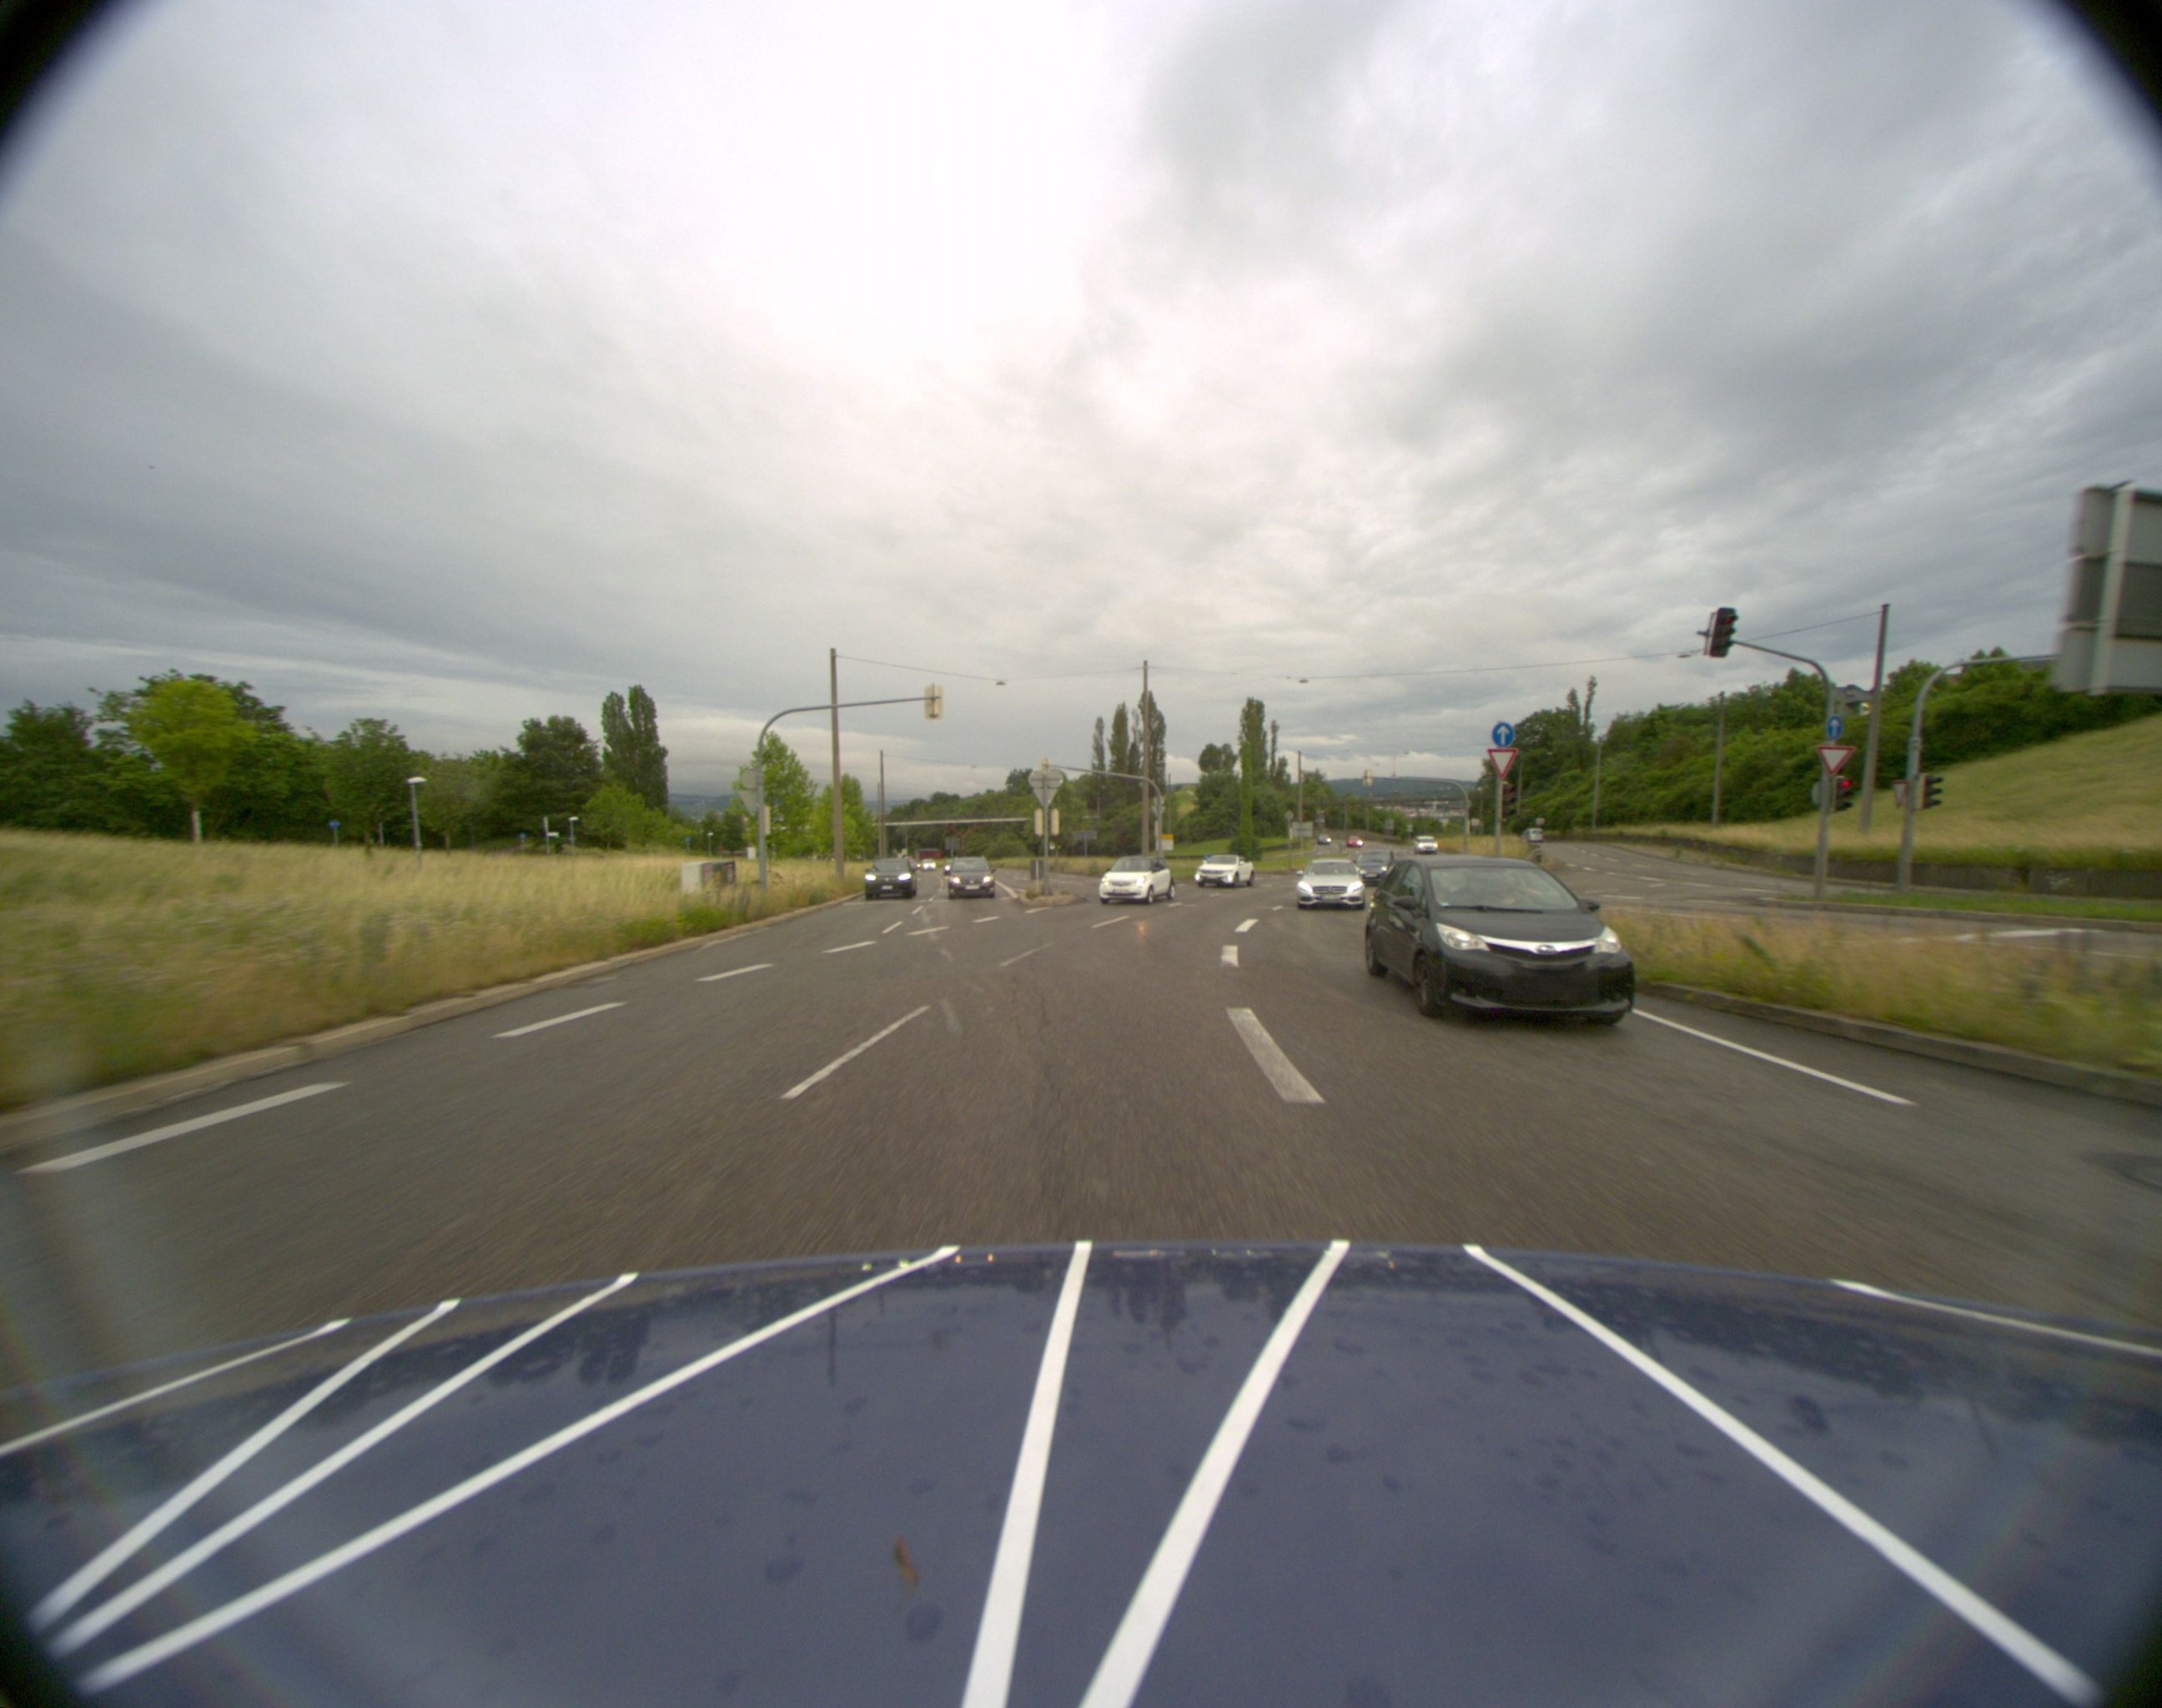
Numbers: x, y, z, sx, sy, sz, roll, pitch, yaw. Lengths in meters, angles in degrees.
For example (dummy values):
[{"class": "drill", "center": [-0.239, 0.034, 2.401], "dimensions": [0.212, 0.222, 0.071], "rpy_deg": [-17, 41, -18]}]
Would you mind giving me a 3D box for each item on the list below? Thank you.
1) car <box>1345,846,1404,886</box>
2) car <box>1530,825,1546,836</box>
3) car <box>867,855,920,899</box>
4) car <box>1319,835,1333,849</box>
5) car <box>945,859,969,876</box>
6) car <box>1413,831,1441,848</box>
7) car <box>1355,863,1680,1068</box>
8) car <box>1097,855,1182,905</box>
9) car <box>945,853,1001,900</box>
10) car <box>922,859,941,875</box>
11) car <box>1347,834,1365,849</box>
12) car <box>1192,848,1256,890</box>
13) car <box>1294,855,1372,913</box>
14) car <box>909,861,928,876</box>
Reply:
[{"class": "car", "center": [13.735, 0.516, 35.403], "dimensions": [1.923, 1.725, 4.033], "rpy_deg": [-1, 0, 30]}, {"class": "car", "center": [59.890, -3.066, 99.657], "dimensions": [1.558, 1.424, 3.234], "rpy_deg": [-2, 1, 26]}, {"class": "car", "center": [-7.804, 0.901, 31.848], "dimensions": [1.721, 1.633, 3.884], "rpy_deg": [-3, 1, -9]}, {"class": "car", "center": [36.178, -1.751, 112.243], "dimensions": [1.996, 2.002, 4.005], "rpy_deg": [-1, 1, 17]}, {"class": "car", "center": [-11.848, 1.249, 72.553], "dimensions": [1.873, 1.477, 3.994], "rpy_deg": [-1, 0, -15]}, {"class": "car", "center": [36.210, -1.474, 79.636], "dimensions": [1.996, 1.682, 4.293], "rpy_deg": [-1, 0, 15]}, {"class": "car", "center": [4.273, 0.924, 8.240], "dimensions": [1.799, 1.556, 4.046], "rpy_deg": [1, 0, 11]}, {"class": "car", "center": [2.073, 0.792, 25.719], "dimensions": [1.723, 1.513, 4.233], "rpy_deg": [0, 0, 21]}, {"class": "car", "center": [-4.359, 0.846, 30.645], "dimensions": [2.000, 1.633, 4.624], "rpy_deg": [-2, 1, -9]}, {"class": "car", "center": [-19.124, 1.627, 97.311], "dimensions": [1.840, 1.936, 3.993], "rpy_deg": [-2, 1, -19]}, {"class": "car", "center": [36.783, -1.659, 101.619], "dimensions": [1.996, 2.002, 4.004], "rpy_deg": [-1, 1, 16]}, {"class": "car", "center": [6.756, 0.662, 35.576], "dimensions": [1.839, 1.532, 3.822], "rpy_deg": [-1, 5, 27]}, {"class": "car", "center": [7.576, 0.804, 22.909], "dimensions": [1.995, 1.400, 4.529], "rpy_deg": [1, 2, 18]}, {"class": "car", "center": [-23.733, 2.101, 110.933], "dimensions": [2.002, 2.002, 3.993], "rpy_deg": [-1, 1, -21]}]
